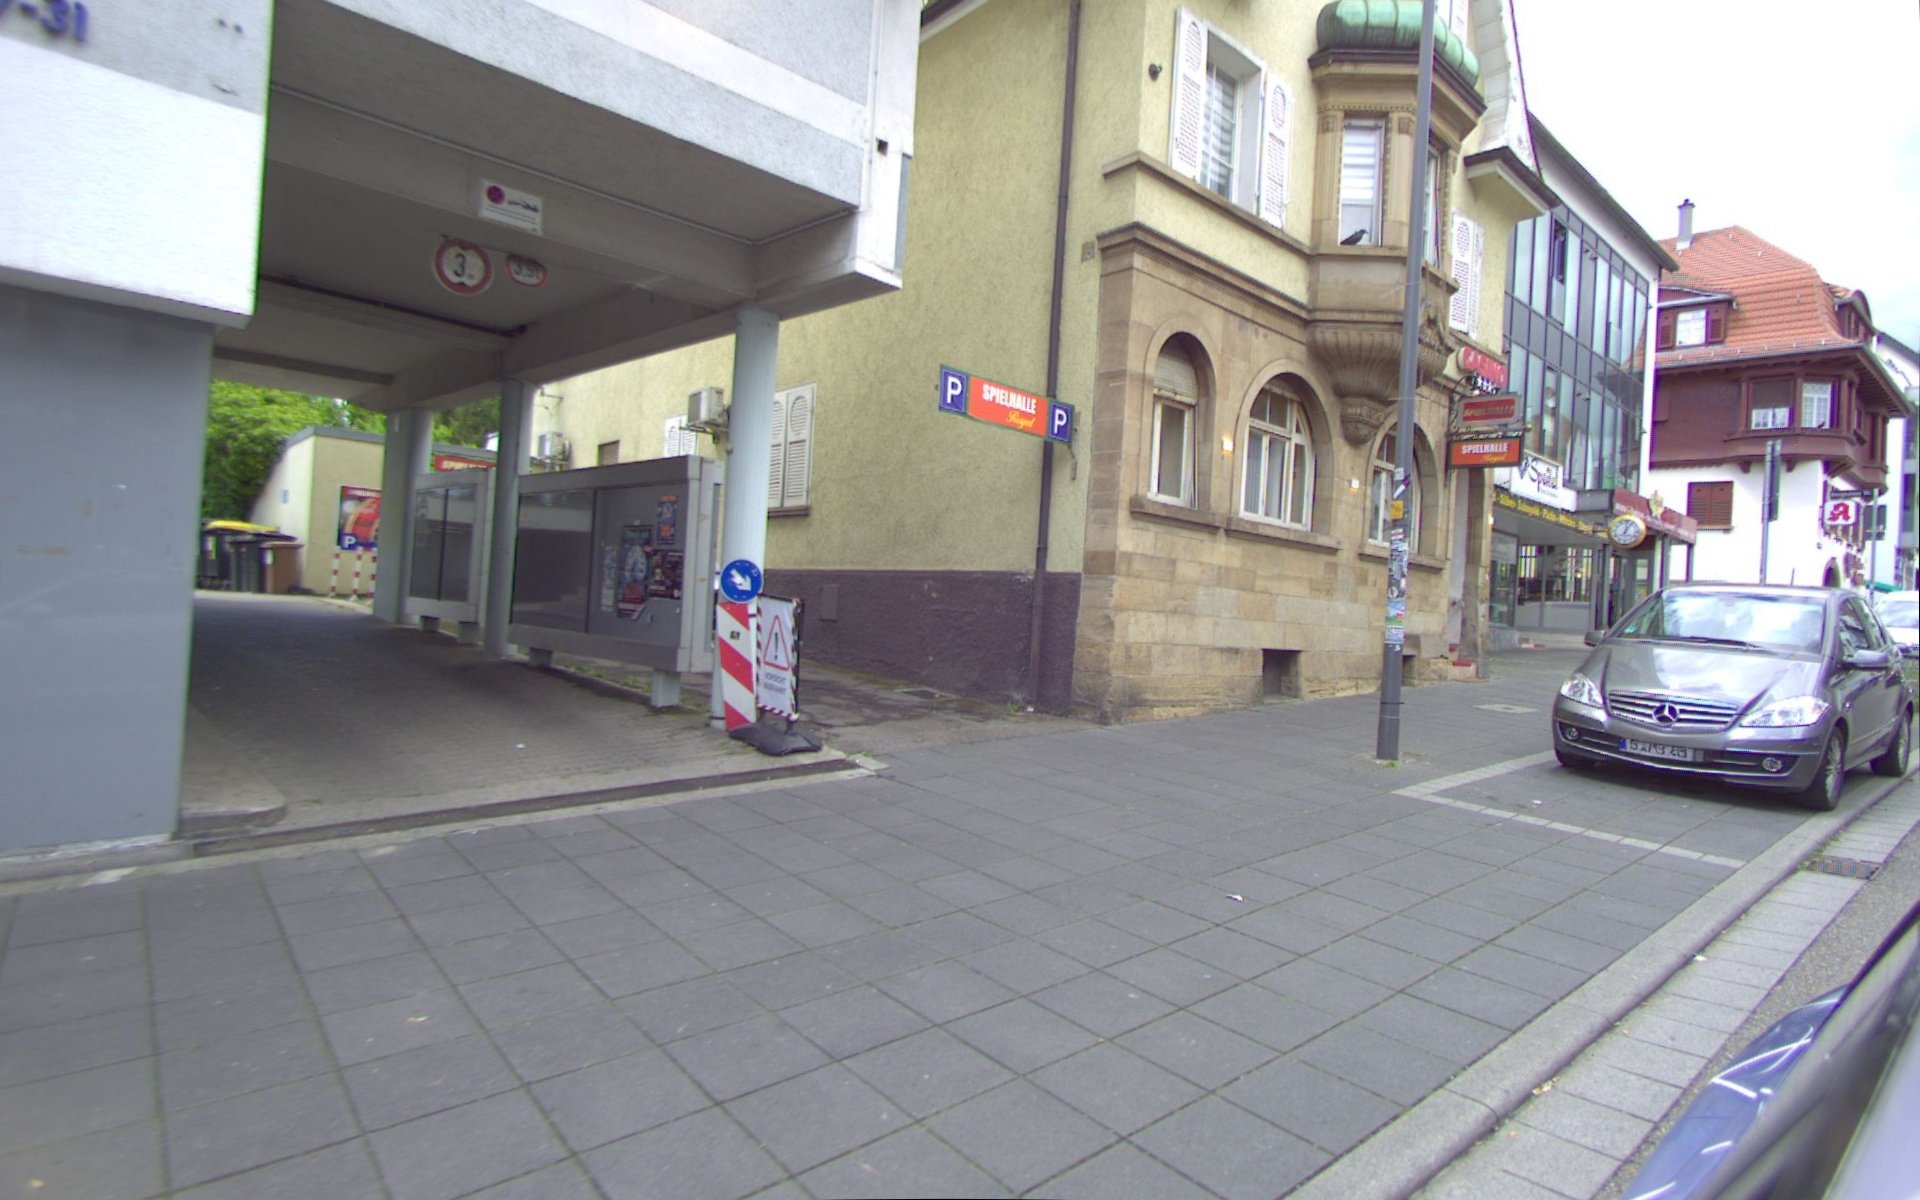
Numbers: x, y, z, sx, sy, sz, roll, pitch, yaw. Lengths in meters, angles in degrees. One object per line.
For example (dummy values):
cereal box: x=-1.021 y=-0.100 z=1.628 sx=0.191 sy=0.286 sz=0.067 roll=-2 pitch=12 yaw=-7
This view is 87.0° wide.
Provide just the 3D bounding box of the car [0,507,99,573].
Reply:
car: x=-27.540 y=-1.801 z=28.955 sx=1.808 sy=1.720 sz=4.174 roll=6 pitch=2 yaw=41

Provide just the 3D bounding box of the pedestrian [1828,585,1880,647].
pedestrian: x=25.608 y=0.448 z=28.990 sx=0.927 sy=1.728 sz=0.867 roll=0 pitch=2 yaw=-34

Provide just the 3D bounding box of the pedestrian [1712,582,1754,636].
pedestrian: x=24.588 y=0.280 z=32.187 sx=0.853 sy=1.665 sz=0.775 roll=0 pitch=2 yaw=-34

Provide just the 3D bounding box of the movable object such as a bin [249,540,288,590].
movable object such as a bin: x=-12.479 y=-0.636 z=18.265 sx=0.536 sy=0.871 sz=0.432 roll=0 pitch=3 yaw=-41

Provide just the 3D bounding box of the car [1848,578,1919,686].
car: x=18.109 y=0.542 z=18.533 sx=4.644 sy=1.822 sz=1.882 roll=0 pitch=1 yaw=-37

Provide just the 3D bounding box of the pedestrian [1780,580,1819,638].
pedestrian: x=26.240 y=0.270 z=31.624 sx=0.803 sy=1.791 sz=0.776 roll=0 pitch=1 yaw=-39

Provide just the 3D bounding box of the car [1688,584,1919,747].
car: x=10.109 y=0.625 z=11.921 sx=3.809 sy=1.527 sz=1.751 roll=0 pitch=3 yaw=-43

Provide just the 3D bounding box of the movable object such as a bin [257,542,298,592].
movable object such as a bin: x=-12.074 y=-0.585 z=17.900 sx=0.536 sy=0.871 sz=0.512 roll=0 pitch=3 yaw=-41

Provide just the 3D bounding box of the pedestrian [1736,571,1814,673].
pedestrian: x=13.954 y=0.356 z=17.334 sx=0.786 sy=1.686 sz=0.827 roll=0 pitch=1 yaw=-34

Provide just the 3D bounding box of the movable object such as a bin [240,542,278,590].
movable object such as a bin: x=-12.891 y=-0.624 z=18.604 sx=0.536 sy=0.871 sz=0.425 roll=0 pitch=3 yaw=-41

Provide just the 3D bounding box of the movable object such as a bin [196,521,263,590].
movable object such as a bin: x=-14.776 y=-0.900 z=20.467 sx=1.014 sy=1.328 sz=0.900 roll=0 pitch=4 yaw=-41

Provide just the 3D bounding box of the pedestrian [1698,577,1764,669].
pedestrian: x=15.194 y=0.433 z=19.948 sx=1.034 sy=1.748 sz=0.798 roll=0 pitch=2 yaw=-40

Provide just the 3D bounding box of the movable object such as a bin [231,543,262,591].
movable object such as a bin: x=-13.389 y=-0.624 z=18.990 sx=0.452 sy=0.871 sz=0.373 roll=0 pitch=3 yaw=-41

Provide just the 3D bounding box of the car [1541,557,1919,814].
car: x=6.600 y=0.527 z=8.398 sx=3.730 sy=1.627 sz=1.753 roll=0 pitch=3 yaw=-38

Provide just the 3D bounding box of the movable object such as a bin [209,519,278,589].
movable object such as a bin: x=-14.003 y=-0.898 z=19.770 sx=1.014 sy=1.328 sz=0.900 roll=0 pitch=4 yaw=-41
